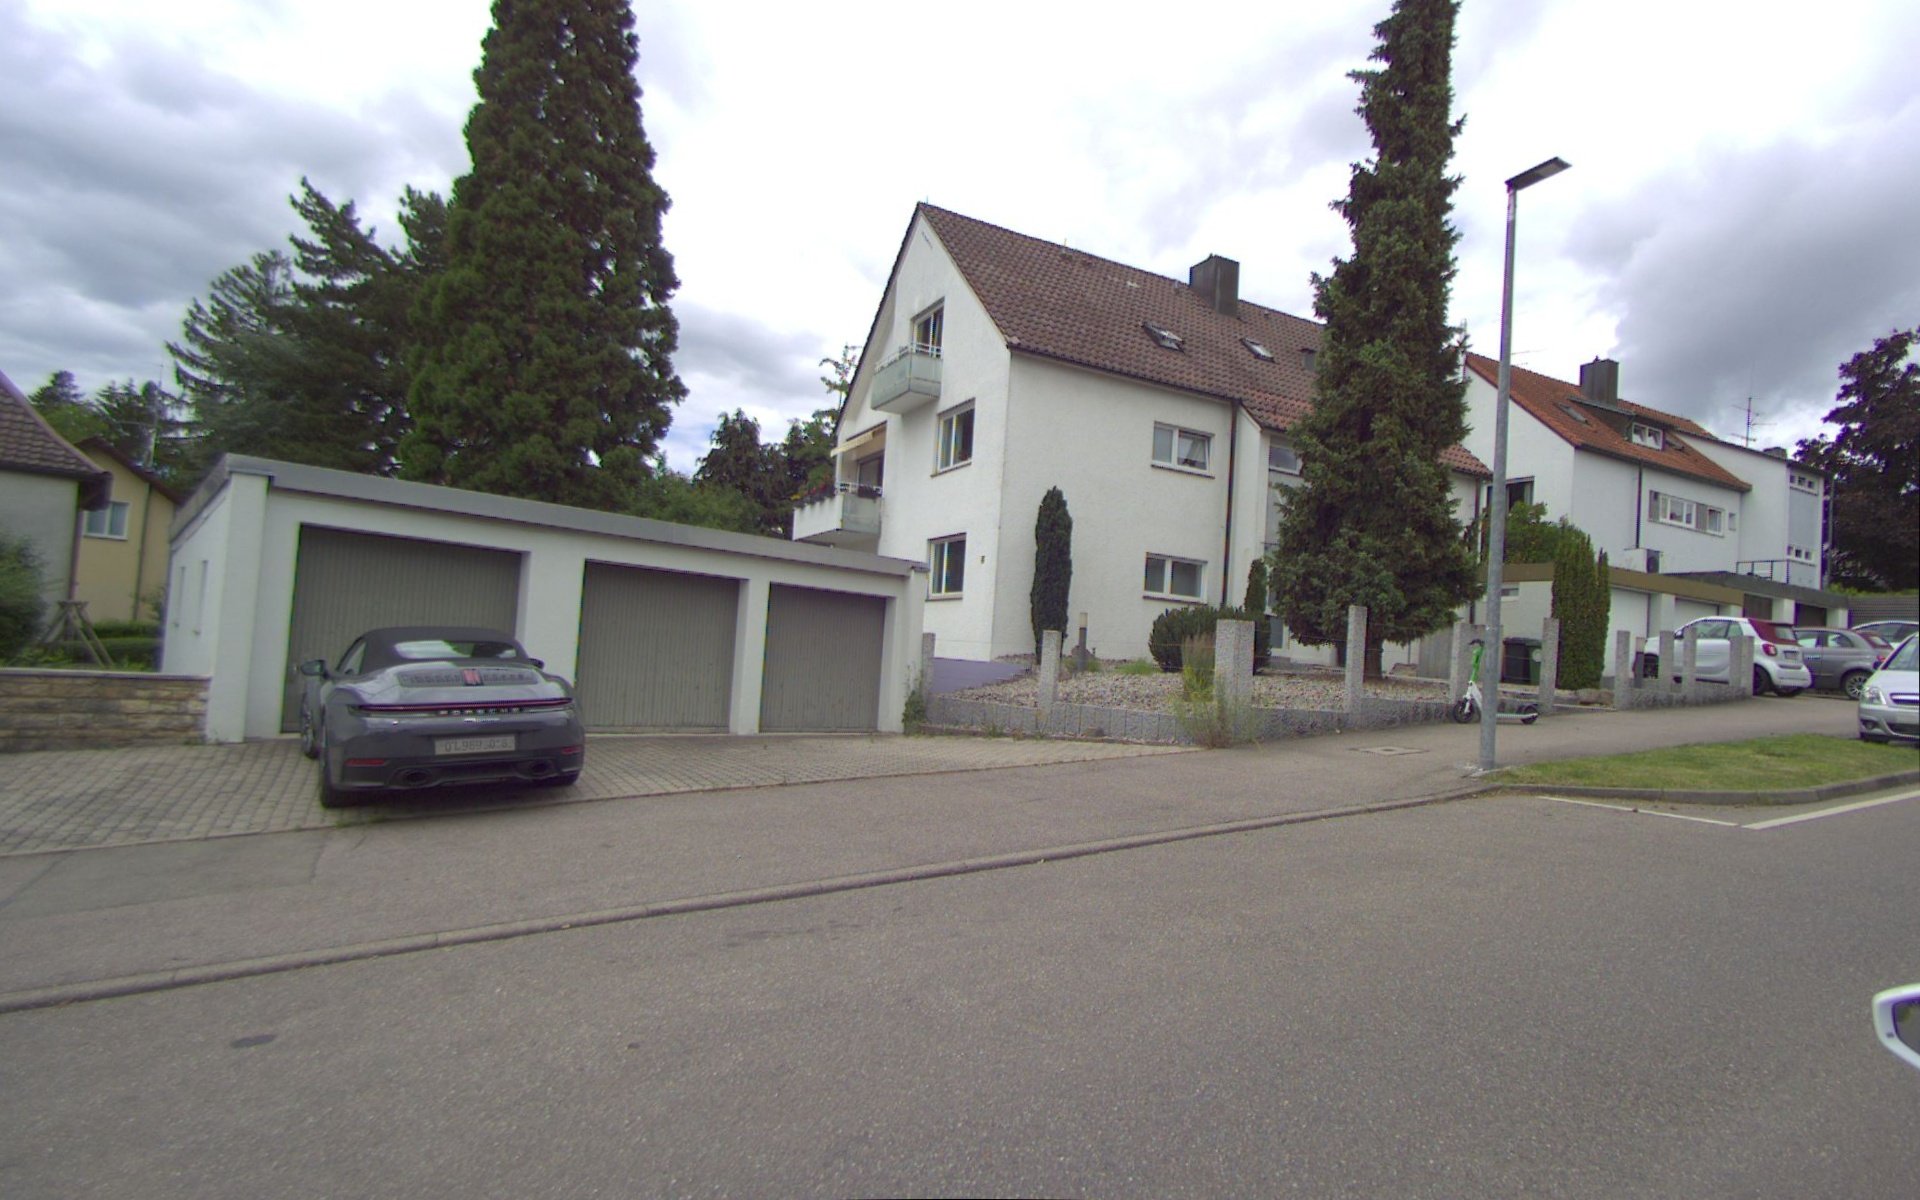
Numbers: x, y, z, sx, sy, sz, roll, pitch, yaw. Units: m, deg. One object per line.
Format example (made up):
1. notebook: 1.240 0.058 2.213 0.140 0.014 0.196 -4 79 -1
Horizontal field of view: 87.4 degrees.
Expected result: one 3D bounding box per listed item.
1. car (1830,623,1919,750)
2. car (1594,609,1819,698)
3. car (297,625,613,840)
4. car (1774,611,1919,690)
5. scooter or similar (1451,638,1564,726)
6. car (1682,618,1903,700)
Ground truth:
1. car: 13.533 1.114 13.464 3.811 1.583 1.752 1 -2 -31
2. car: 15.704 1.071 21.287 1.637 1.599 3.414 3 0 -29
3. car: -4.690 0.943 8.969 1.886 1.386 4.257 1 -1 -36
4. car: 22.276 1.213 23.681 1.889 1.651 4.388 1 1 -31
5. scooter or similar: 7.635 1.137 14.018 1.430 1.164 0.474 1 1 -15
6. car: 18.517 1.274 22.486 1.672 1.532 3.414 3 0 -29
